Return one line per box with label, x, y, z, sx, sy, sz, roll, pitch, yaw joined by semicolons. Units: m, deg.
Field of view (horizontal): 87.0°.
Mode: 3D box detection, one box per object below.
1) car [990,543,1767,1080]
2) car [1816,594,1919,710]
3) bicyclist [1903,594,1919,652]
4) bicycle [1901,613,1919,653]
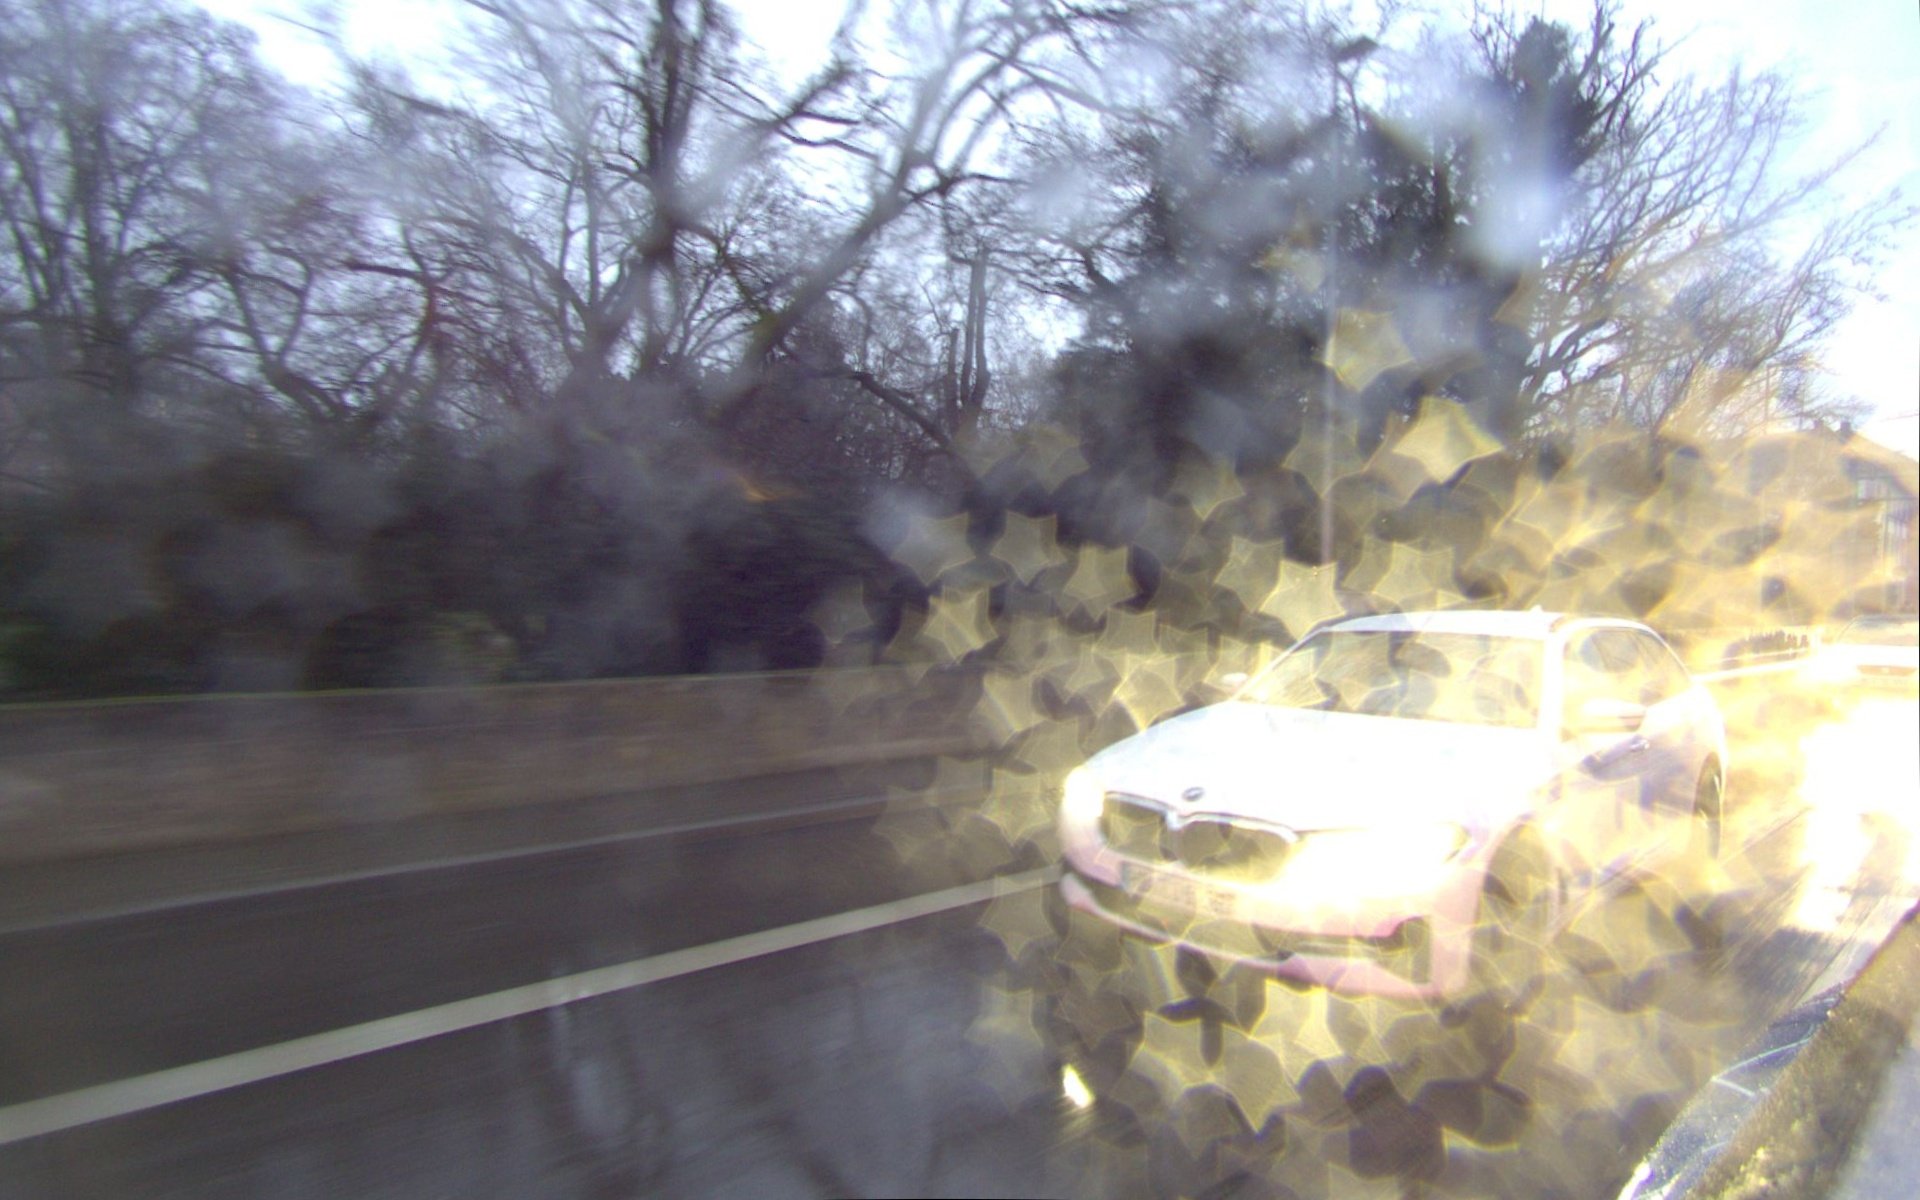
car;2.555;0.599;5.302;4.854;1.575;1.865;0;2;-43
car;14.863;0.752;15.588;4.097;1.580;1.885;1;1;-40
bicyclist;37.693;0.892;39.661;0.919;2.251;0.966;0;-1;-42
bicycle;37.660;1.263;39.616;3.332;1.469;0.966;0;0;-43
